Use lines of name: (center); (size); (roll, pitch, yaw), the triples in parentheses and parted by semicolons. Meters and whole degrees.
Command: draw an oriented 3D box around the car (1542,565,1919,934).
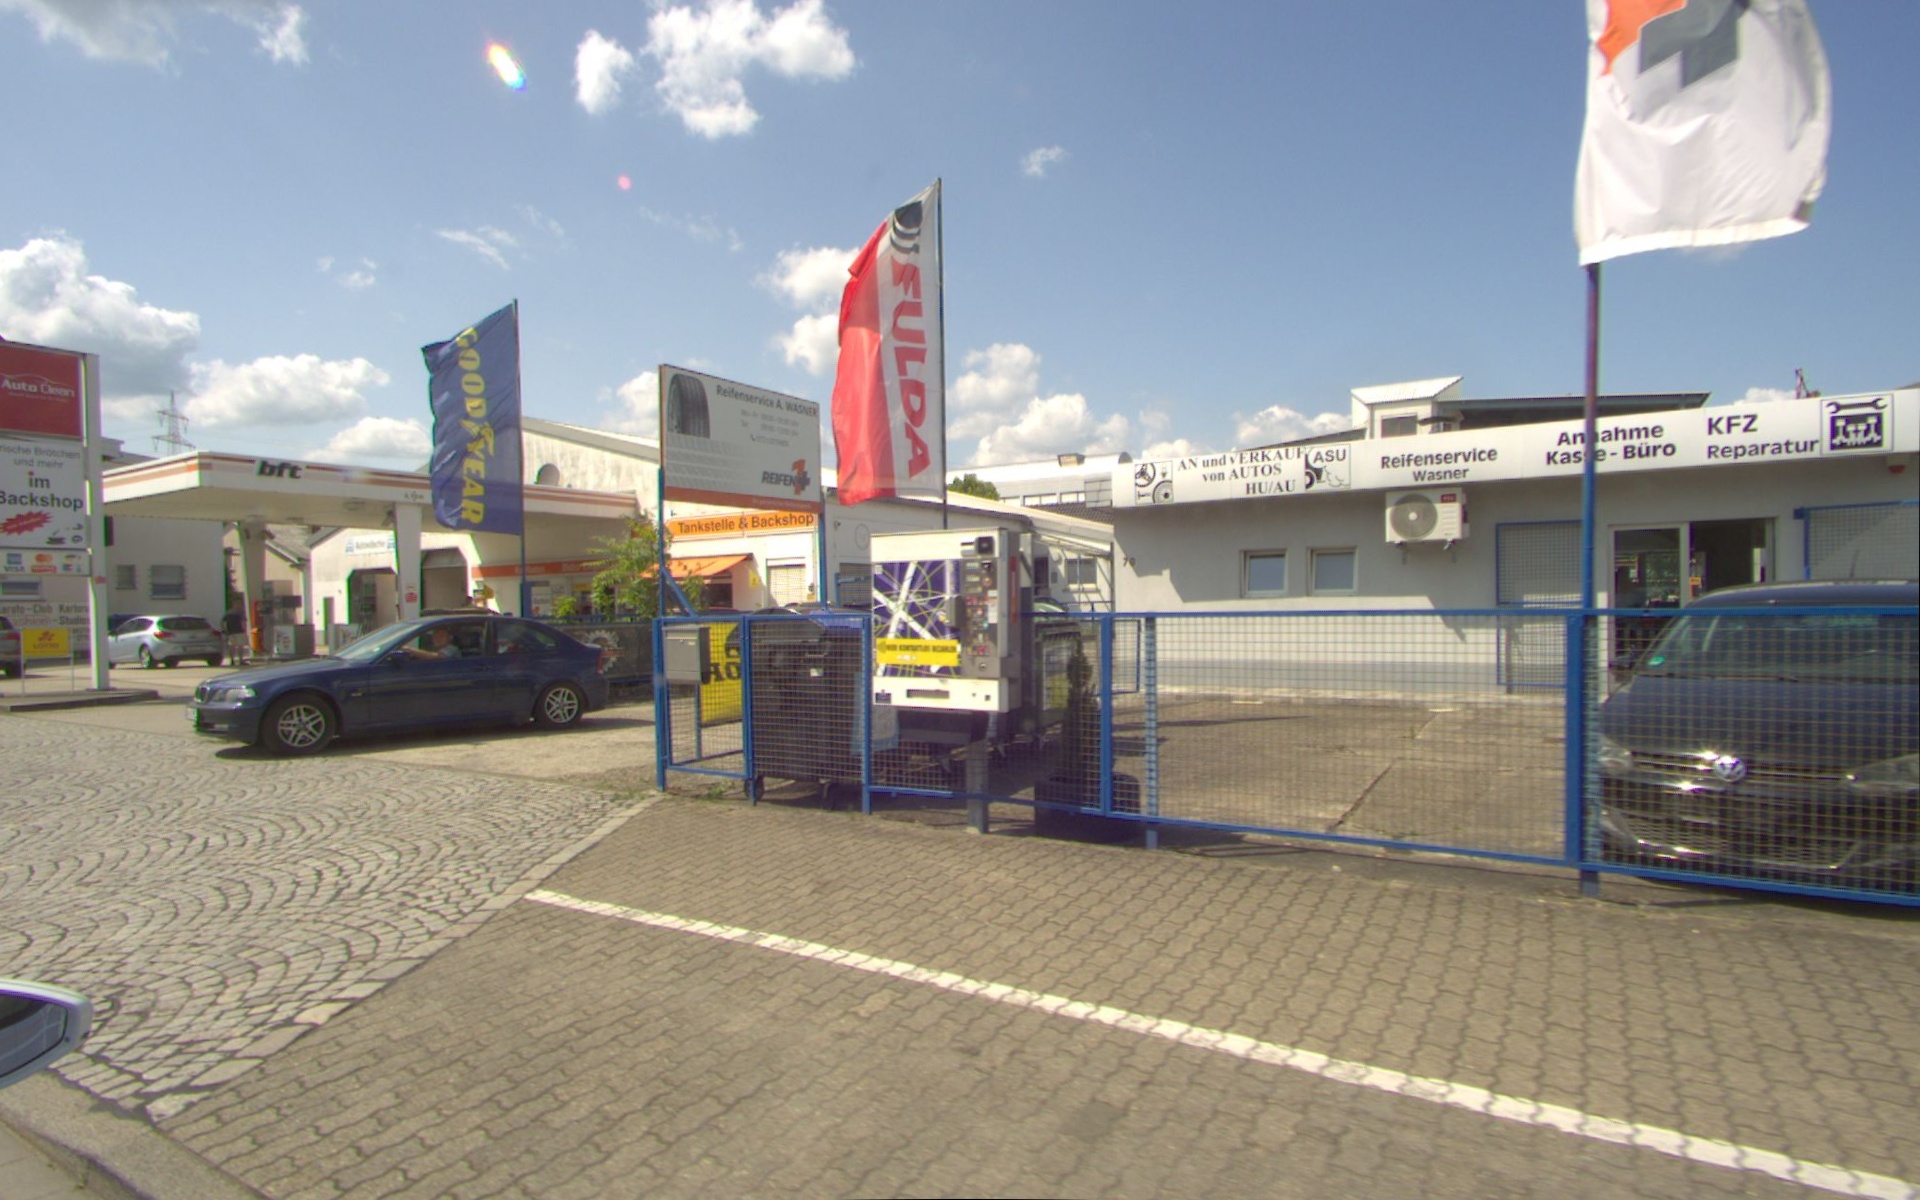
car: (4.910, 0.566, 5.707); (3.867, 1.482, 1.612); (-2, 0, -42)

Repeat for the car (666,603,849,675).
car: (-4.578, 0.857, 23.211); (1.747, 1.443, 4.124); (-2, 0, 33)

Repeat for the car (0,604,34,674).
car: (-24.605, 0.956, 24.437); (4.552, 1.646, 1.941); (-1, -1, 34)

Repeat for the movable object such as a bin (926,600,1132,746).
movable object such as a bin: (0.775, 0.763, 10.927); (1.740, 1.428, 1.530); (-1, -2, 31)

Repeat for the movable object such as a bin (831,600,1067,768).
movable object such as a bin: (-0.085, 0.761, 9.621); (1.740, 1.428, 1.530); (-1, -2, 31)

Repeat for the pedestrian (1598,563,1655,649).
pedestrian: (10.447, 0.107, 15.715); (0.625, 1.318, 0.698); (-1, -2, 26)

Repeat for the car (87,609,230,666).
car: (-22.990, 1.083, 28.705); (4.357, 1.490, 1.689); (-2, 1, 30)

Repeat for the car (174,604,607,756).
car: (-6.318, 0.810, 11.485); (1.628, 1.426, 4.034); (-2, -2, 41)

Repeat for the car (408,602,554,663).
car: (-13.670, 0.867, 28.494); (4.428, 1.540, 1.679); (1, 1, 33)

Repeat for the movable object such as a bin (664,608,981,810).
movable object such as a bin: (-1.046, 0.787, 8.060); (1.684, 1.364, 1.960); (-1, -2, 31)

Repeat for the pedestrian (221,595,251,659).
pedestrian: (-20.823, 0.780, 28.790); (0.569, 1.799, 0.496); (-1, -1, 30)

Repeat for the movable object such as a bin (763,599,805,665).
movable object such as a bin: (-3.847, 0.698, 21.905); (0.696, 1.410, 0.579); (0, 1, 30)

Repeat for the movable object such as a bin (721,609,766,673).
movable object such as a bin: (-4.497, 0.852, 20.807); (0.696, 1.313, 0.580); (-1, -2, 31)
